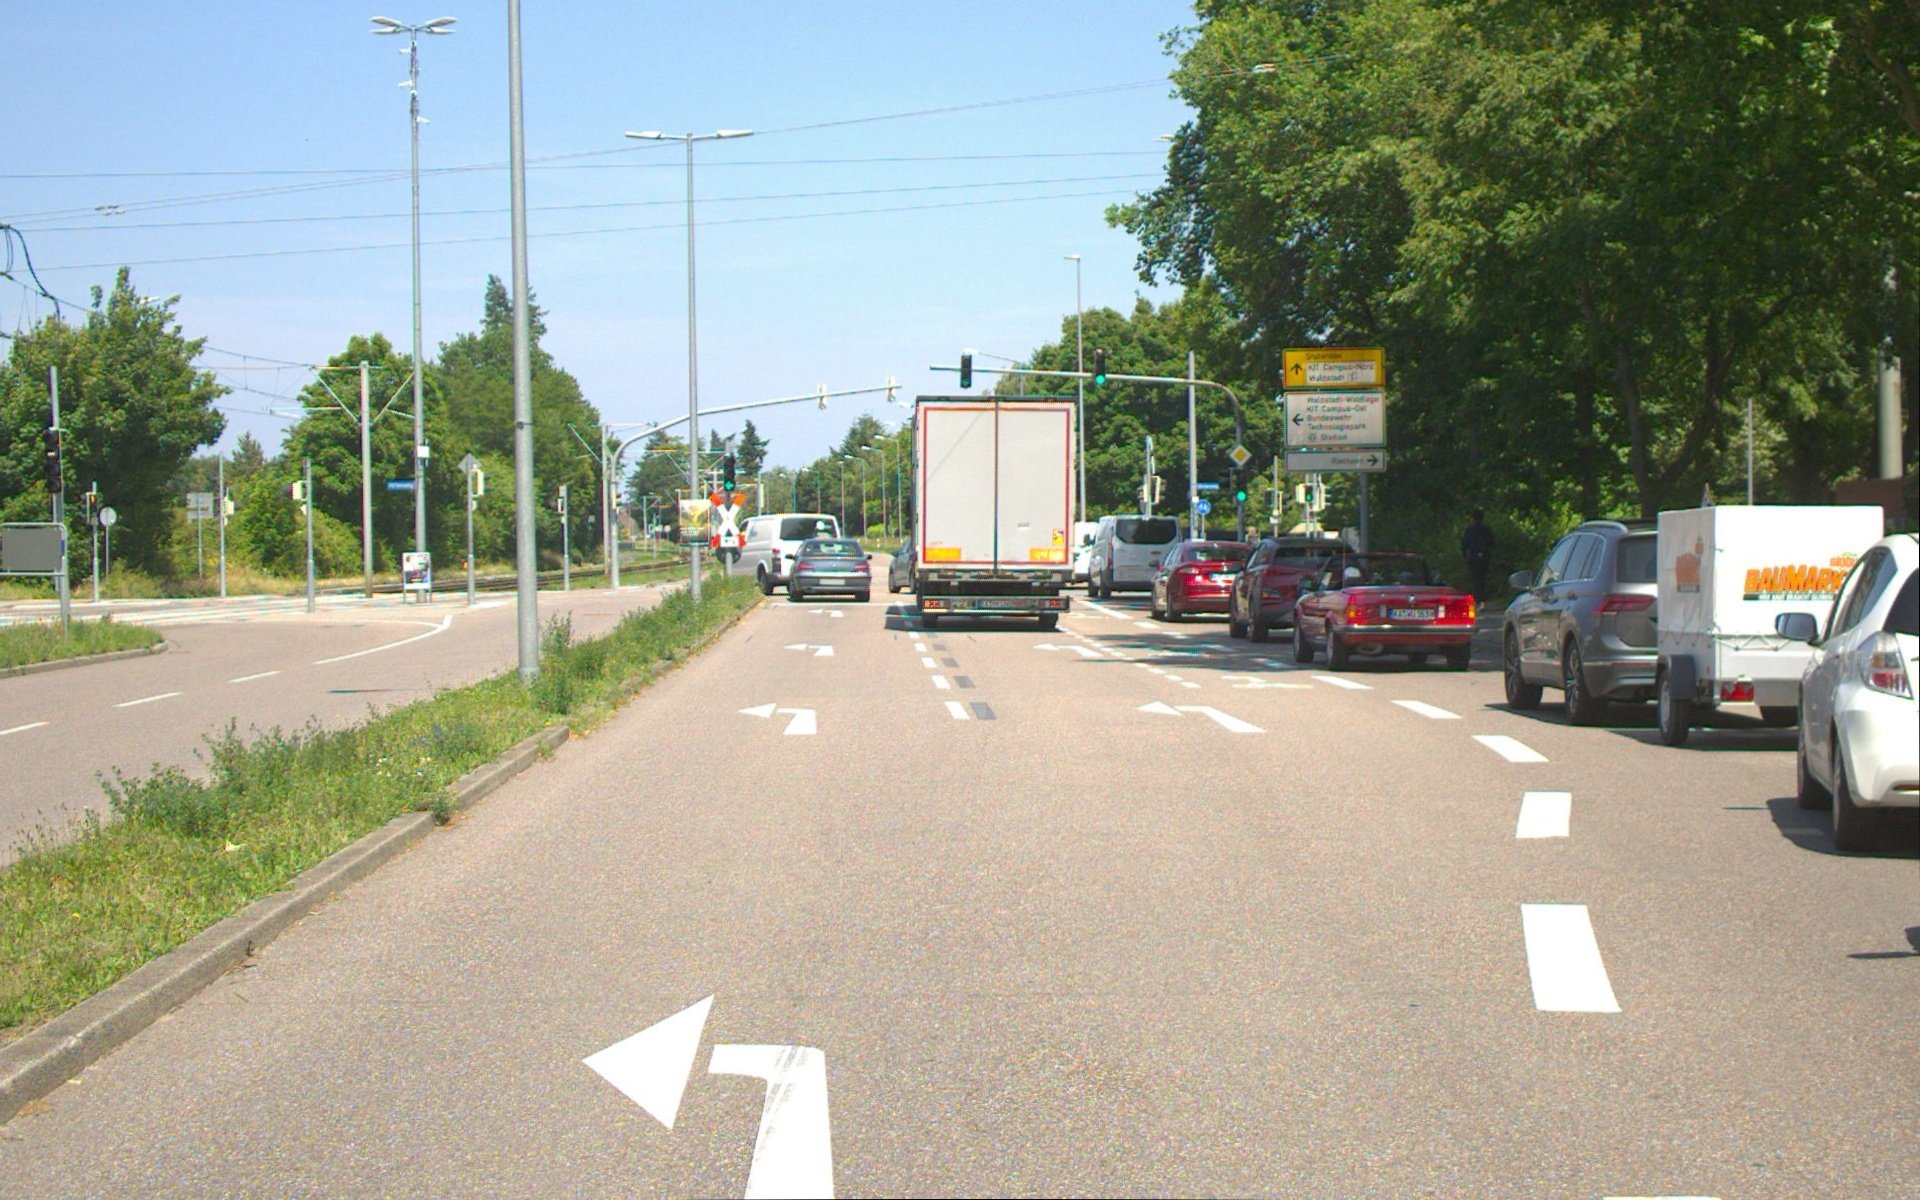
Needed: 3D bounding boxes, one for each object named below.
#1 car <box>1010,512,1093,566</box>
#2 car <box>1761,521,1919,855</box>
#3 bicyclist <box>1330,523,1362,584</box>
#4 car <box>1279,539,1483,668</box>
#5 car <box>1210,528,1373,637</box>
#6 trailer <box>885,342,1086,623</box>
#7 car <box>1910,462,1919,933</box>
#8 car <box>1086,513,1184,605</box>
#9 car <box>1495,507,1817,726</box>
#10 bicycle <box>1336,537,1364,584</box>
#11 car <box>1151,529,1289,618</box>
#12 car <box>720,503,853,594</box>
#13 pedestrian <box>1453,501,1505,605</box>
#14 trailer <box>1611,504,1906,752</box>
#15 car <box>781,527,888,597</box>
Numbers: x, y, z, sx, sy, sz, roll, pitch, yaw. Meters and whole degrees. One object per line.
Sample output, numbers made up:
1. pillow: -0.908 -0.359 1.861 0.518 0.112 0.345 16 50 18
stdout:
1. car: 2.555 -1.727 96.797 1.993 1.432 4.252 0 2 -3
2. car: 5.034 0.361 17.142 1.721 1.483 3.877 1 1 9
3. bicyclist: 11.155 -1.356 99.264 0.802 1.721 0.679 -3 1 9
4. car: 4.892 0.005 40.441 1.654 1.392 4.268 1 1 -3
5. car: 4.916 -0.295 51.423 1.858 1.544 3.888 1 1 -3
6. trailer: 0.305 -1.950 58.673 2.827 4.406 8.751 1 1 -3
7. car: 4.131 0.412 10.623 1.710 1.741 4.426 1 1 8
8. car: 4.103 -0.989 81.283 1.890 2.114 3.888 1 1 -3
9. car: 5.632 0.077 28.328 1.699 1.648 4.399 1 1 0
10. bicycle: 11.267 -1.140 99.276 0.644 1.300 1.625 -3 1 9
11. car: 4.717 -0.515 62.965 1.993 1.498 4.503 -1 2 -2
12. car: -4.266 -1.286 83.847 1.993 2.103 4.749 -1 2 -19
13. pedestrian: 9.204 -0.840 60.987 0.753 1.809 0.693 -2 1 -3
14. trailer: 5.672 0.156 24.697 1.469 1.663 2.856 1 1 1
15. car: -2.762 -0.820 76.693 1.893 1.367 4.429 3 -1 4
